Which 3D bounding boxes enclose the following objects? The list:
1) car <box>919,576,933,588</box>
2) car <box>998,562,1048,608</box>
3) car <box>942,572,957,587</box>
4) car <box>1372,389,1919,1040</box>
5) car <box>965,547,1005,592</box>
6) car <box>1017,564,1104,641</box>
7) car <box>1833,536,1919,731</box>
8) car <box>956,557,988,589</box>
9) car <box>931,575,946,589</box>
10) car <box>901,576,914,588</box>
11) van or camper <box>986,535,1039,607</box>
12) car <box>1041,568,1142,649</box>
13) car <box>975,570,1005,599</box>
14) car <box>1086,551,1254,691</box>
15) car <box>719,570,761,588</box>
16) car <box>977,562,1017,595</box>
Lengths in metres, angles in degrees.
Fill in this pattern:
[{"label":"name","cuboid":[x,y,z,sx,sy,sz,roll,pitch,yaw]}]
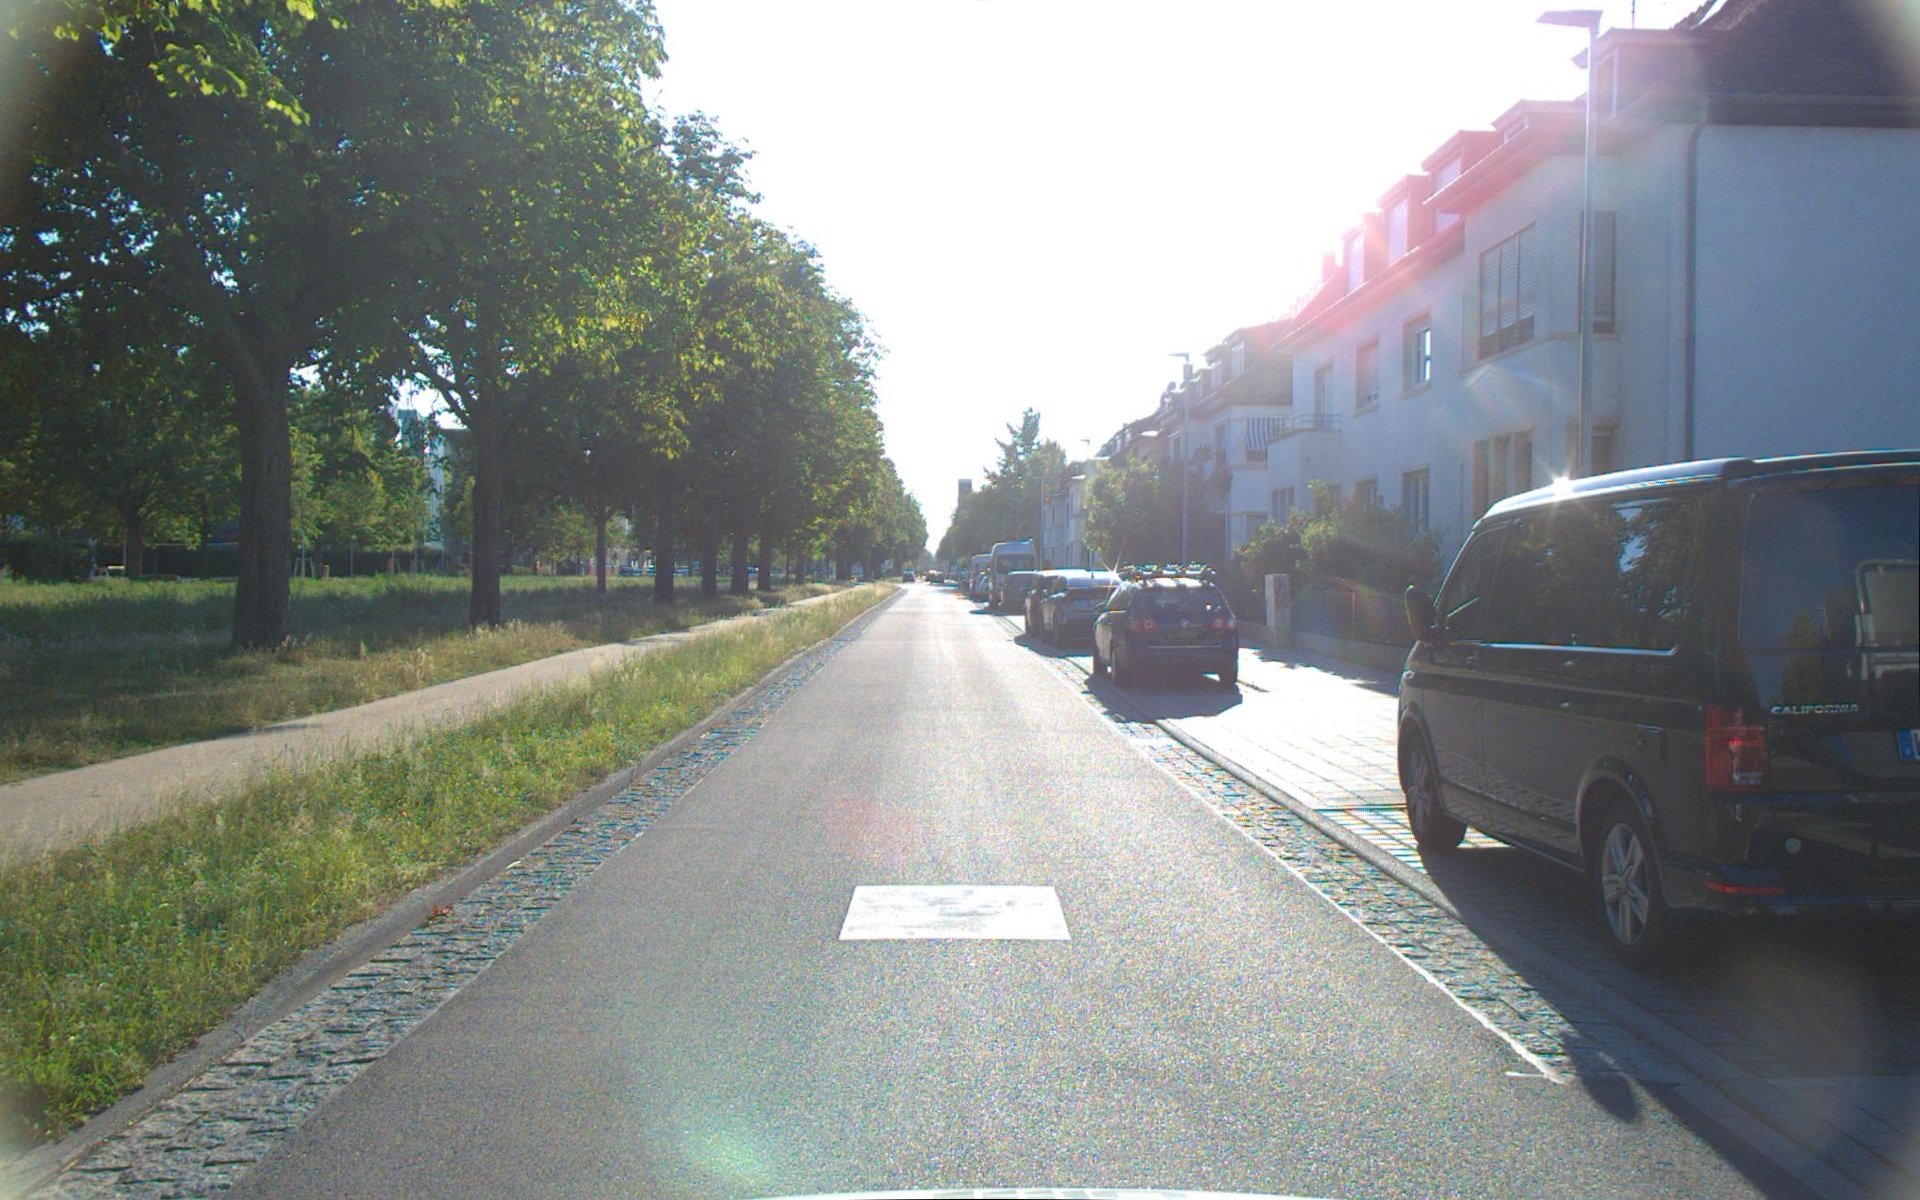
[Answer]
[{"label":"car","cuboid":[-4.845,-2.527,236.256,1.825,1.625,3.869,1,1,-2]},{"label":"car","cuboid":[2.346,-0.579,62.635,1.630,1.620,4.085,-2,1,-1]},{"label":"car","cuboid":[-1.173,-2.303,187.067,1.616,1.557,3.851,-1,1,0]},{"label":"car","cuboid":[3.541,0.305,7.970,1.867,2.169,4.815,-2,1,0]},{"label":"car","cuboid":[1.465,-1.857,99.491,2.084,2.576,5.186,-1,1,-3]},{"label":"car","cuboid":[2.471,0.018,41.445,1.795,1.714,4.415,2,2,-1]},{"label":"car","cuboid":[10.703,0.343,15.463,4.134,1.756,1.852,1,1,-5]},{"label":"car","cuboid":[0.818,-1.907,114.442,2.083,2.103,5.188,-1,1,-1]},{"label":"car","cuboid":[-2.703,-2.222,205.384,1.825,1.624,3.893,1,1,-2]},{"label":"car","cuboid":[-7.244,-2.546,228.987,1.825,1.625,3.869,1,1,-2]},{"label":"van or camper","cuboid":[2.147,-1.202,69.301,1.904,2.826,5.939,1,0,-1]},{"label":"car","cuboid":[2.788,0.131,35.900,1.683,1.601,4.209,-2,1,-2]},{"label":"car","cuboid":[1.651,-0.892,93.173,1.616,1.557,3.851,-1,1,0]},{"label":"car","cuboid":[2.957,0.222,24.159,1.757,1.802,4.472,-2,1,-1]},{"label":"car","cuboid":[-22.904,-2.195,171.984,4.266,1.795,1.996,1,1,-10]},{"label":"car","cuboid":[1.943,-1.162,87.831,1.800,1.664,4.130,-1,1,-2]}]
